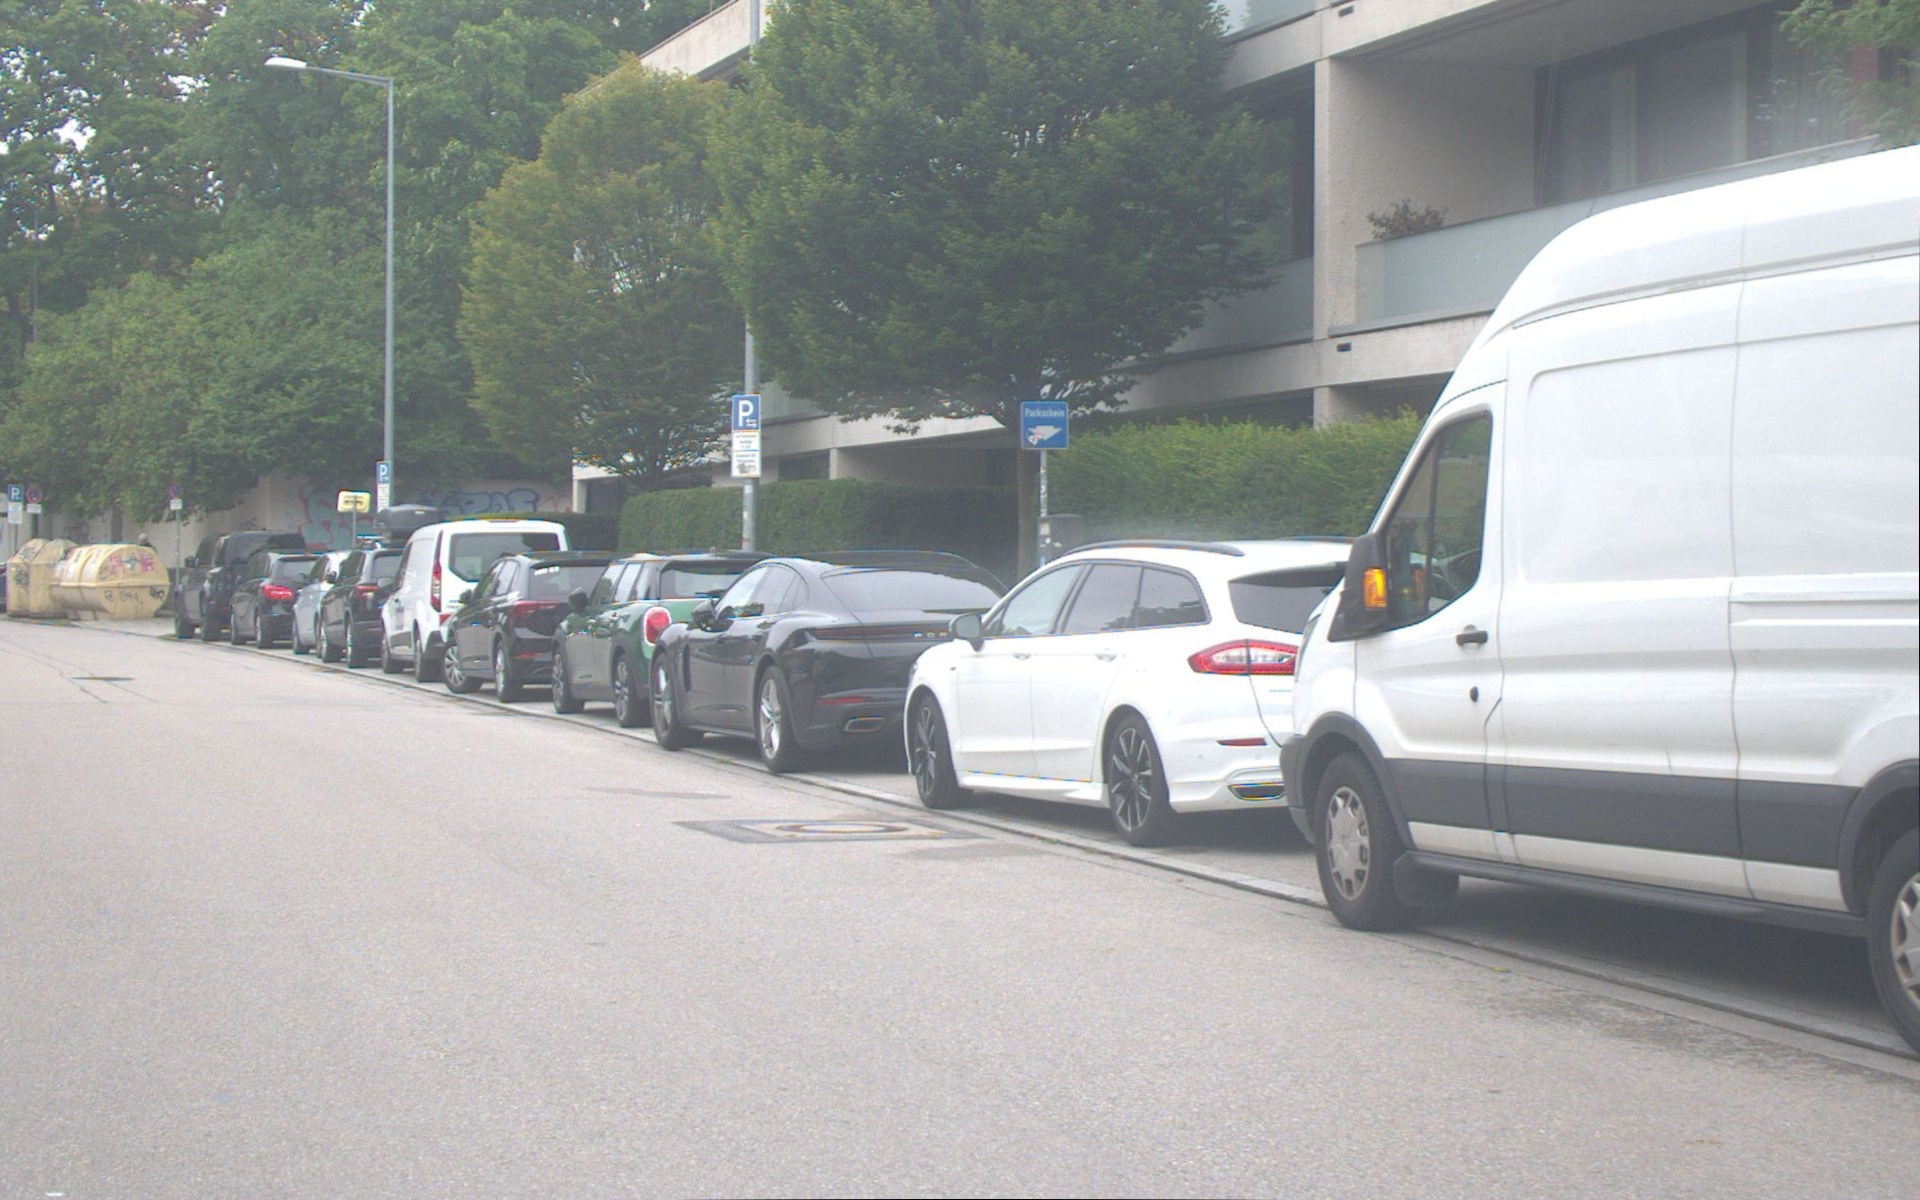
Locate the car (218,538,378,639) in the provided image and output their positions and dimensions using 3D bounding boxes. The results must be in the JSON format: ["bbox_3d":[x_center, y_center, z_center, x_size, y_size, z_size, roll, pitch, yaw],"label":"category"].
[{"bbox_3d":[-10.597,-0.206,54.808,1.747,1.534,4.571,0,1,-21],"label":"car"}]

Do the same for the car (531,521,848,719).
[{"bbox_3d":[-2.391,0.107,29.384,1.726,1.524,4.206,-2,2,-18],"label":"car"}]

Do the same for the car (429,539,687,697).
[{"bbox_3d":[-4.095,0.129,34.449,1.747,1.459,4.244,0,1,-18],"label":"car"}]

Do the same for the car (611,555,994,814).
[{"bbox_3d":[-1.229,0.492,24.037,1.281,1.501,5.209,-2,2,-18],"label":"car"}]

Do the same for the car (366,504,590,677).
[{"bbox_3d":[-5.692,-0.142,40.107,1.822,1.854,4.899,1,1,-17],"label":"car"}]

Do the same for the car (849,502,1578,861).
[{"bbox_3d":[1.137,0.295,18.271,1.870,1.564,5.003,-2,3,-21],"label":"car"}]

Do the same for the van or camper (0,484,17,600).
[{"bbox_3d":[-26.284,-1.494,88.204,2.272,2.896,7.277,0,1,-30],"label":"van or camper"}]

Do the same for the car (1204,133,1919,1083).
[{"bbox_3d":[3.041,-0.055,11.827,2.079,2.677,6.090,-2,2,-19],"label":"car"}]

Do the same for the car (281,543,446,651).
[{"bbox_3d":[-8.614,-0.064,49.435,1.747,1.475,3.889,0,1,-19],"label":"car"}]

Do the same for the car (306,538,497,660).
[{"bbox_3d":[-7.361,-0.051,44.987,1.747,1.475,4.599,1,1,-18],"label":"car"}]

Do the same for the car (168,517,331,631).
[{"bbox_3d":[-12.418,-0.436,59.861,1.987,1.865,5.079,1,0,-21],"label":"car"}]
